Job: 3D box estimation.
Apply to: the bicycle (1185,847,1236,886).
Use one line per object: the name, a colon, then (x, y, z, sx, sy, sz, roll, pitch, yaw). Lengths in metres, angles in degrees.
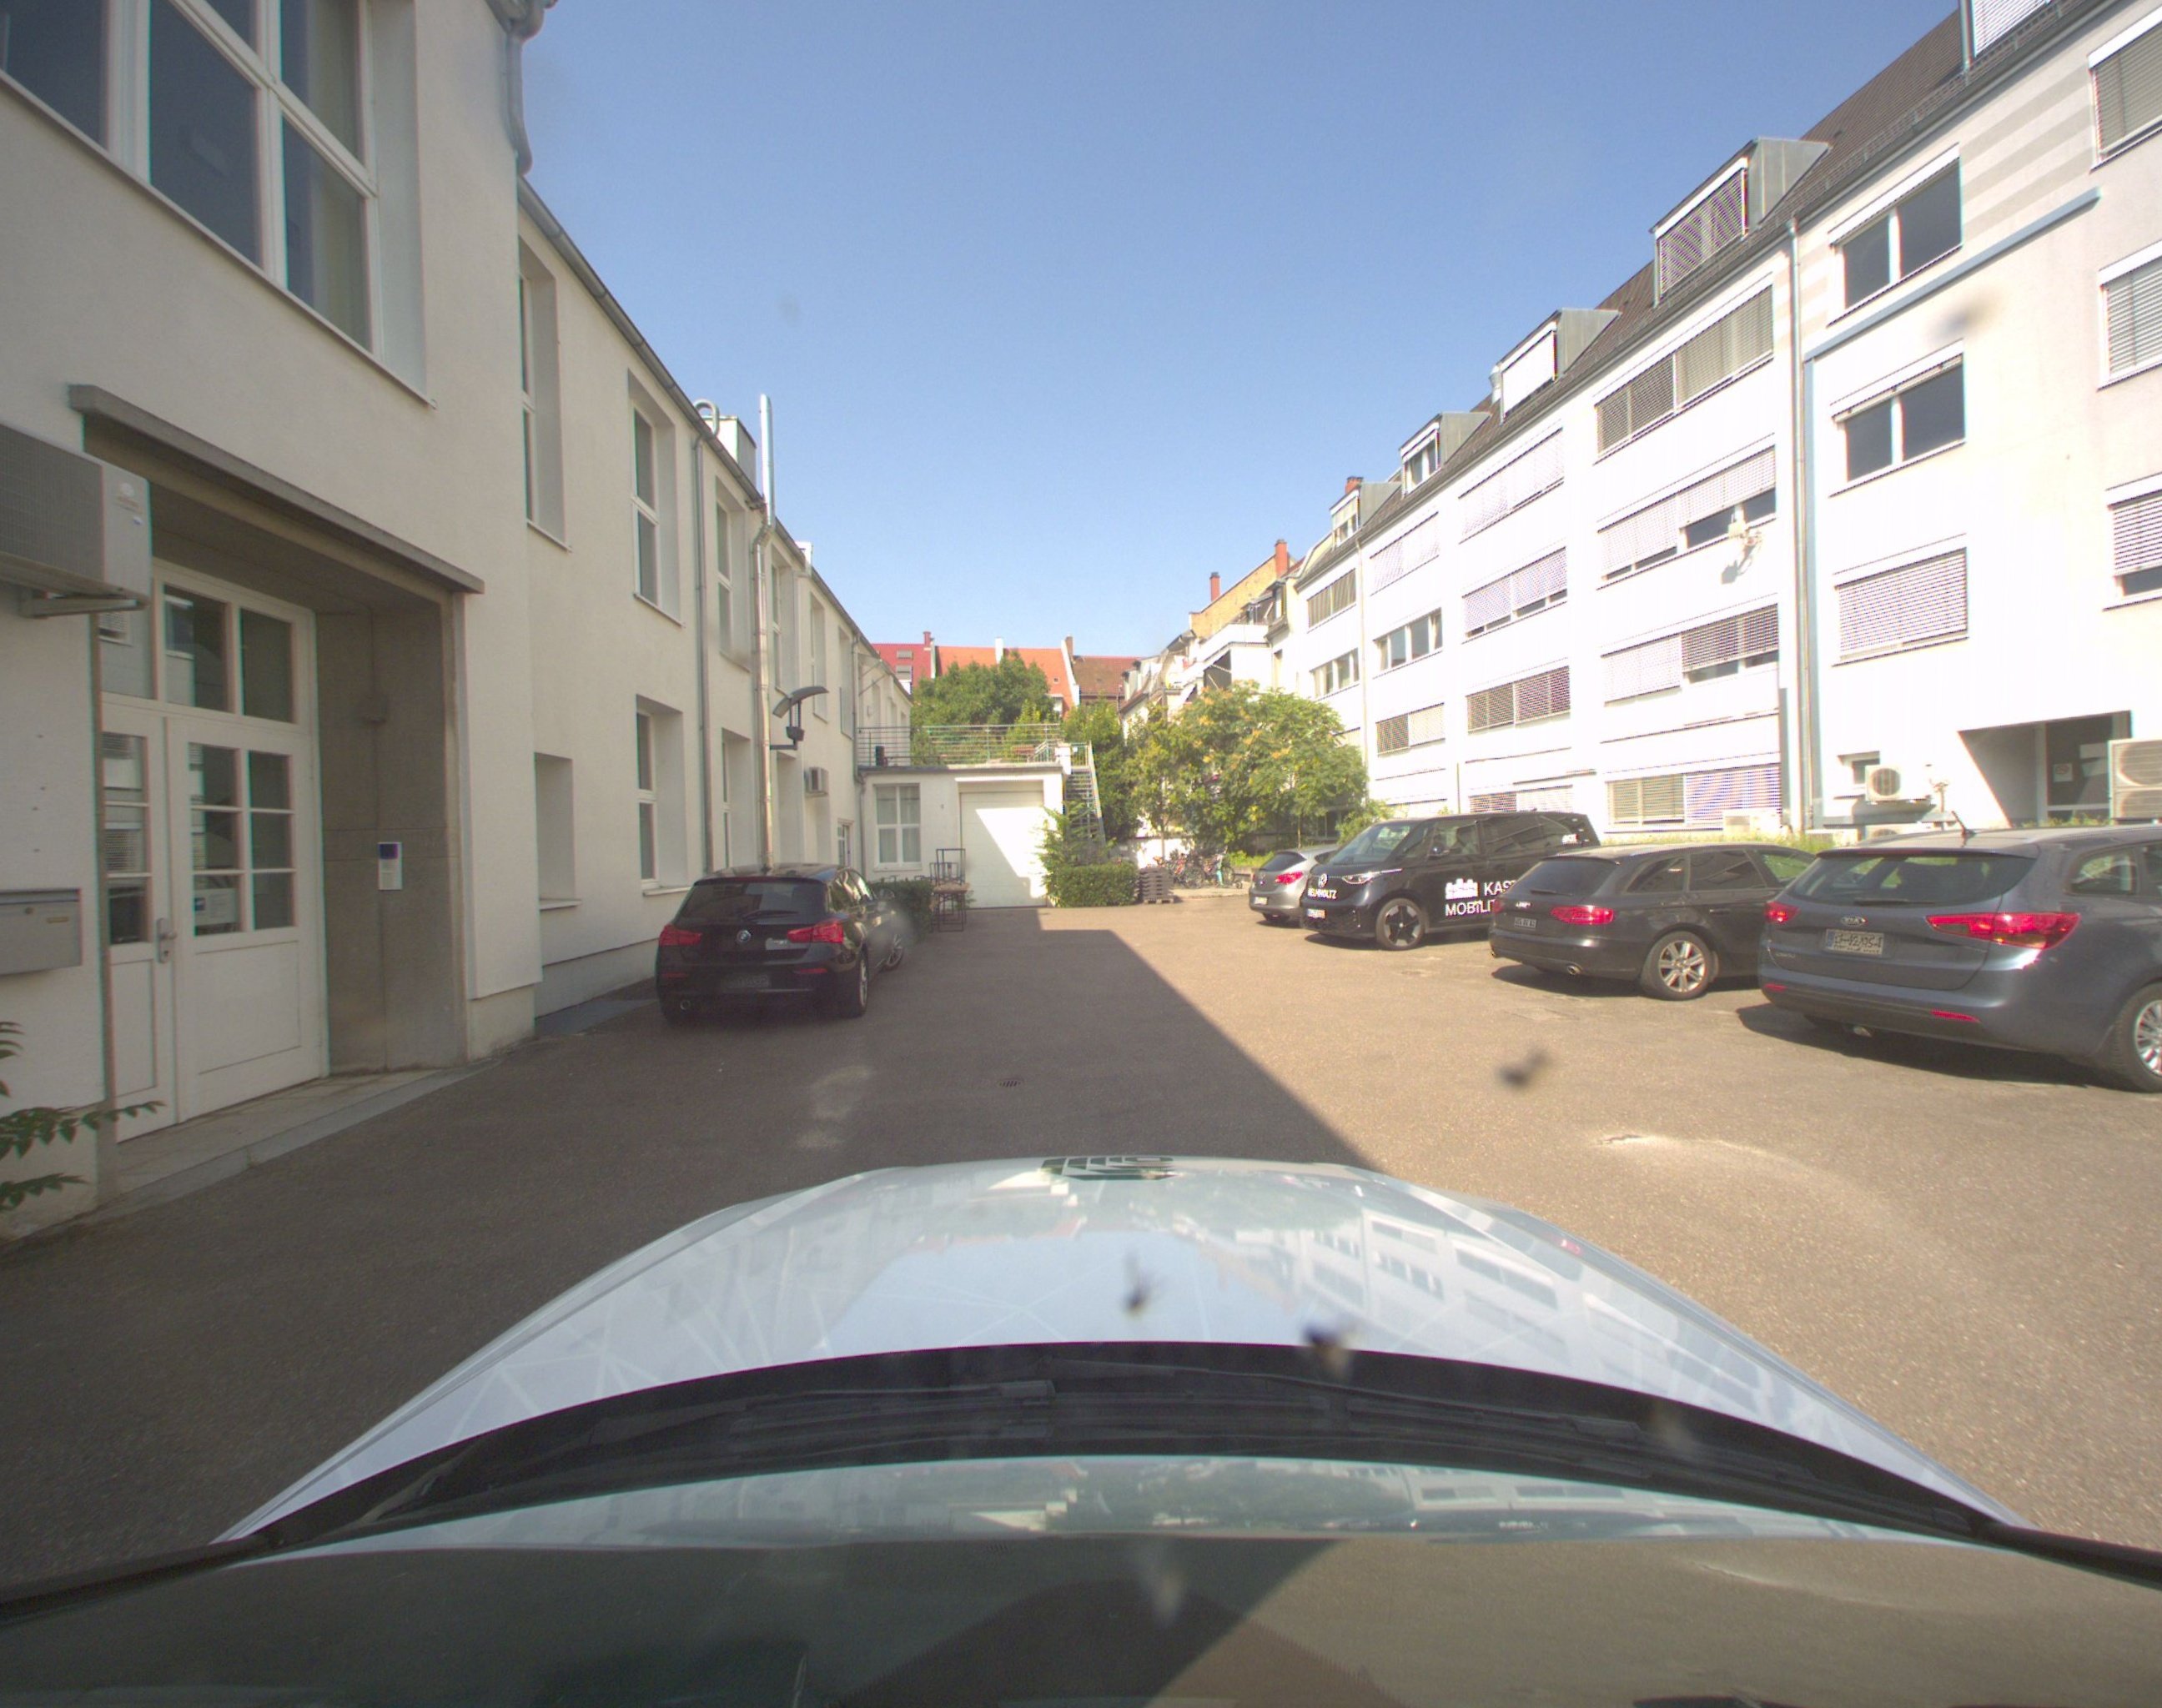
bicycle: (4.291, 0.412, 26.933, 1.613, 1.214, 0.328, -3, 0, 10)

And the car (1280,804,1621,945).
car: (5.577, 0.255, 12.469, 4.506, 1.794, 1.874, -2, 0, -14)

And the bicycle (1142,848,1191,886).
bicycle: (2.993, 0.450, 28.608, 1.623, 1.214, 0.422, -3, 0, -10)

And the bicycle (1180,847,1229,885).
bicycle: (4.212, 0.416, 27.788, 1.613, 1.214, 0.425, -3, 0, 8)

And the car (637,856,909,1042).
car: (-2.928, 0.774, 8.638, 1.686, 1.459, 3.915, -2, 0, -6)

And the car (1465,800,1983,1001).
car: (6.378, 0.396, 8.322, 4.113, 1.691, 1.767, -2, 0, -7)

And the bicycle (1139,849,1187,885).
bicycle: (2.948, 0.452, 29.207, 1.623, 1.214, 0.423, -3, 0, -9)

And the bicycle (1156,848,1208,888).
bicycle: (3.280, 0.440, 26.500, 1.619, 1.214, 0.326, -3, 0, -3)

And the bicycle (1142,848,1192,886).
bicycle: (2.951, 0.451, 27.969, 1.620, 1.214, 0.423, -3, 0, -5)

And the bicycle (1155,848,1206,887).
bicycle: (3.285, 0.440, 26.952, 1.615, 1.214, 0.327, -3, 0, 5)

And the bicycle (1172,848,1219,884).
bicycle: (4.149, 0.419, 29.388, 1.614, 1.214, 0.425, -3, 0, 8)

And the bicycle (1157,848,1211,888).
bicycle: (3.283, 0.439, 25.884, 1.619, 1.214, 0.326, -3, 0, -3)

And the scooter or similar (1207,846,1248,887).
scooter or similar: (4.625, 0.408, 25.746, 0.381, 1.261, 1.334, -3, 0, -36)

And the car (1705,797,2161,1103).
car: (6.760, 0.463, 5.528, 3.861, 1.589, 1.873, -2, 0, -10)

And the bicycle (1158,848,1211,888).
bicycle: (3.328, 0.438, 26.210, 1.619, 1.214, 0.326, -3, 0, -3)

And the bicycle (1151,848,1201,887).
bicycle: (3.183, 0.443, 27.309, 1.613, 1.214, 0.328, -3, 0, 8)

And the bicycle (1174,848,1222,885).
bicycle: (4.075, 0.420, 28.355, 1.614, 1.214, 0.425, -3, 0, 8)

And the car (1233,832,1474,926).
car: (5.058, 0.432, 15.317, 3.937, 1.482, 1.766, -2, 0, -14)
